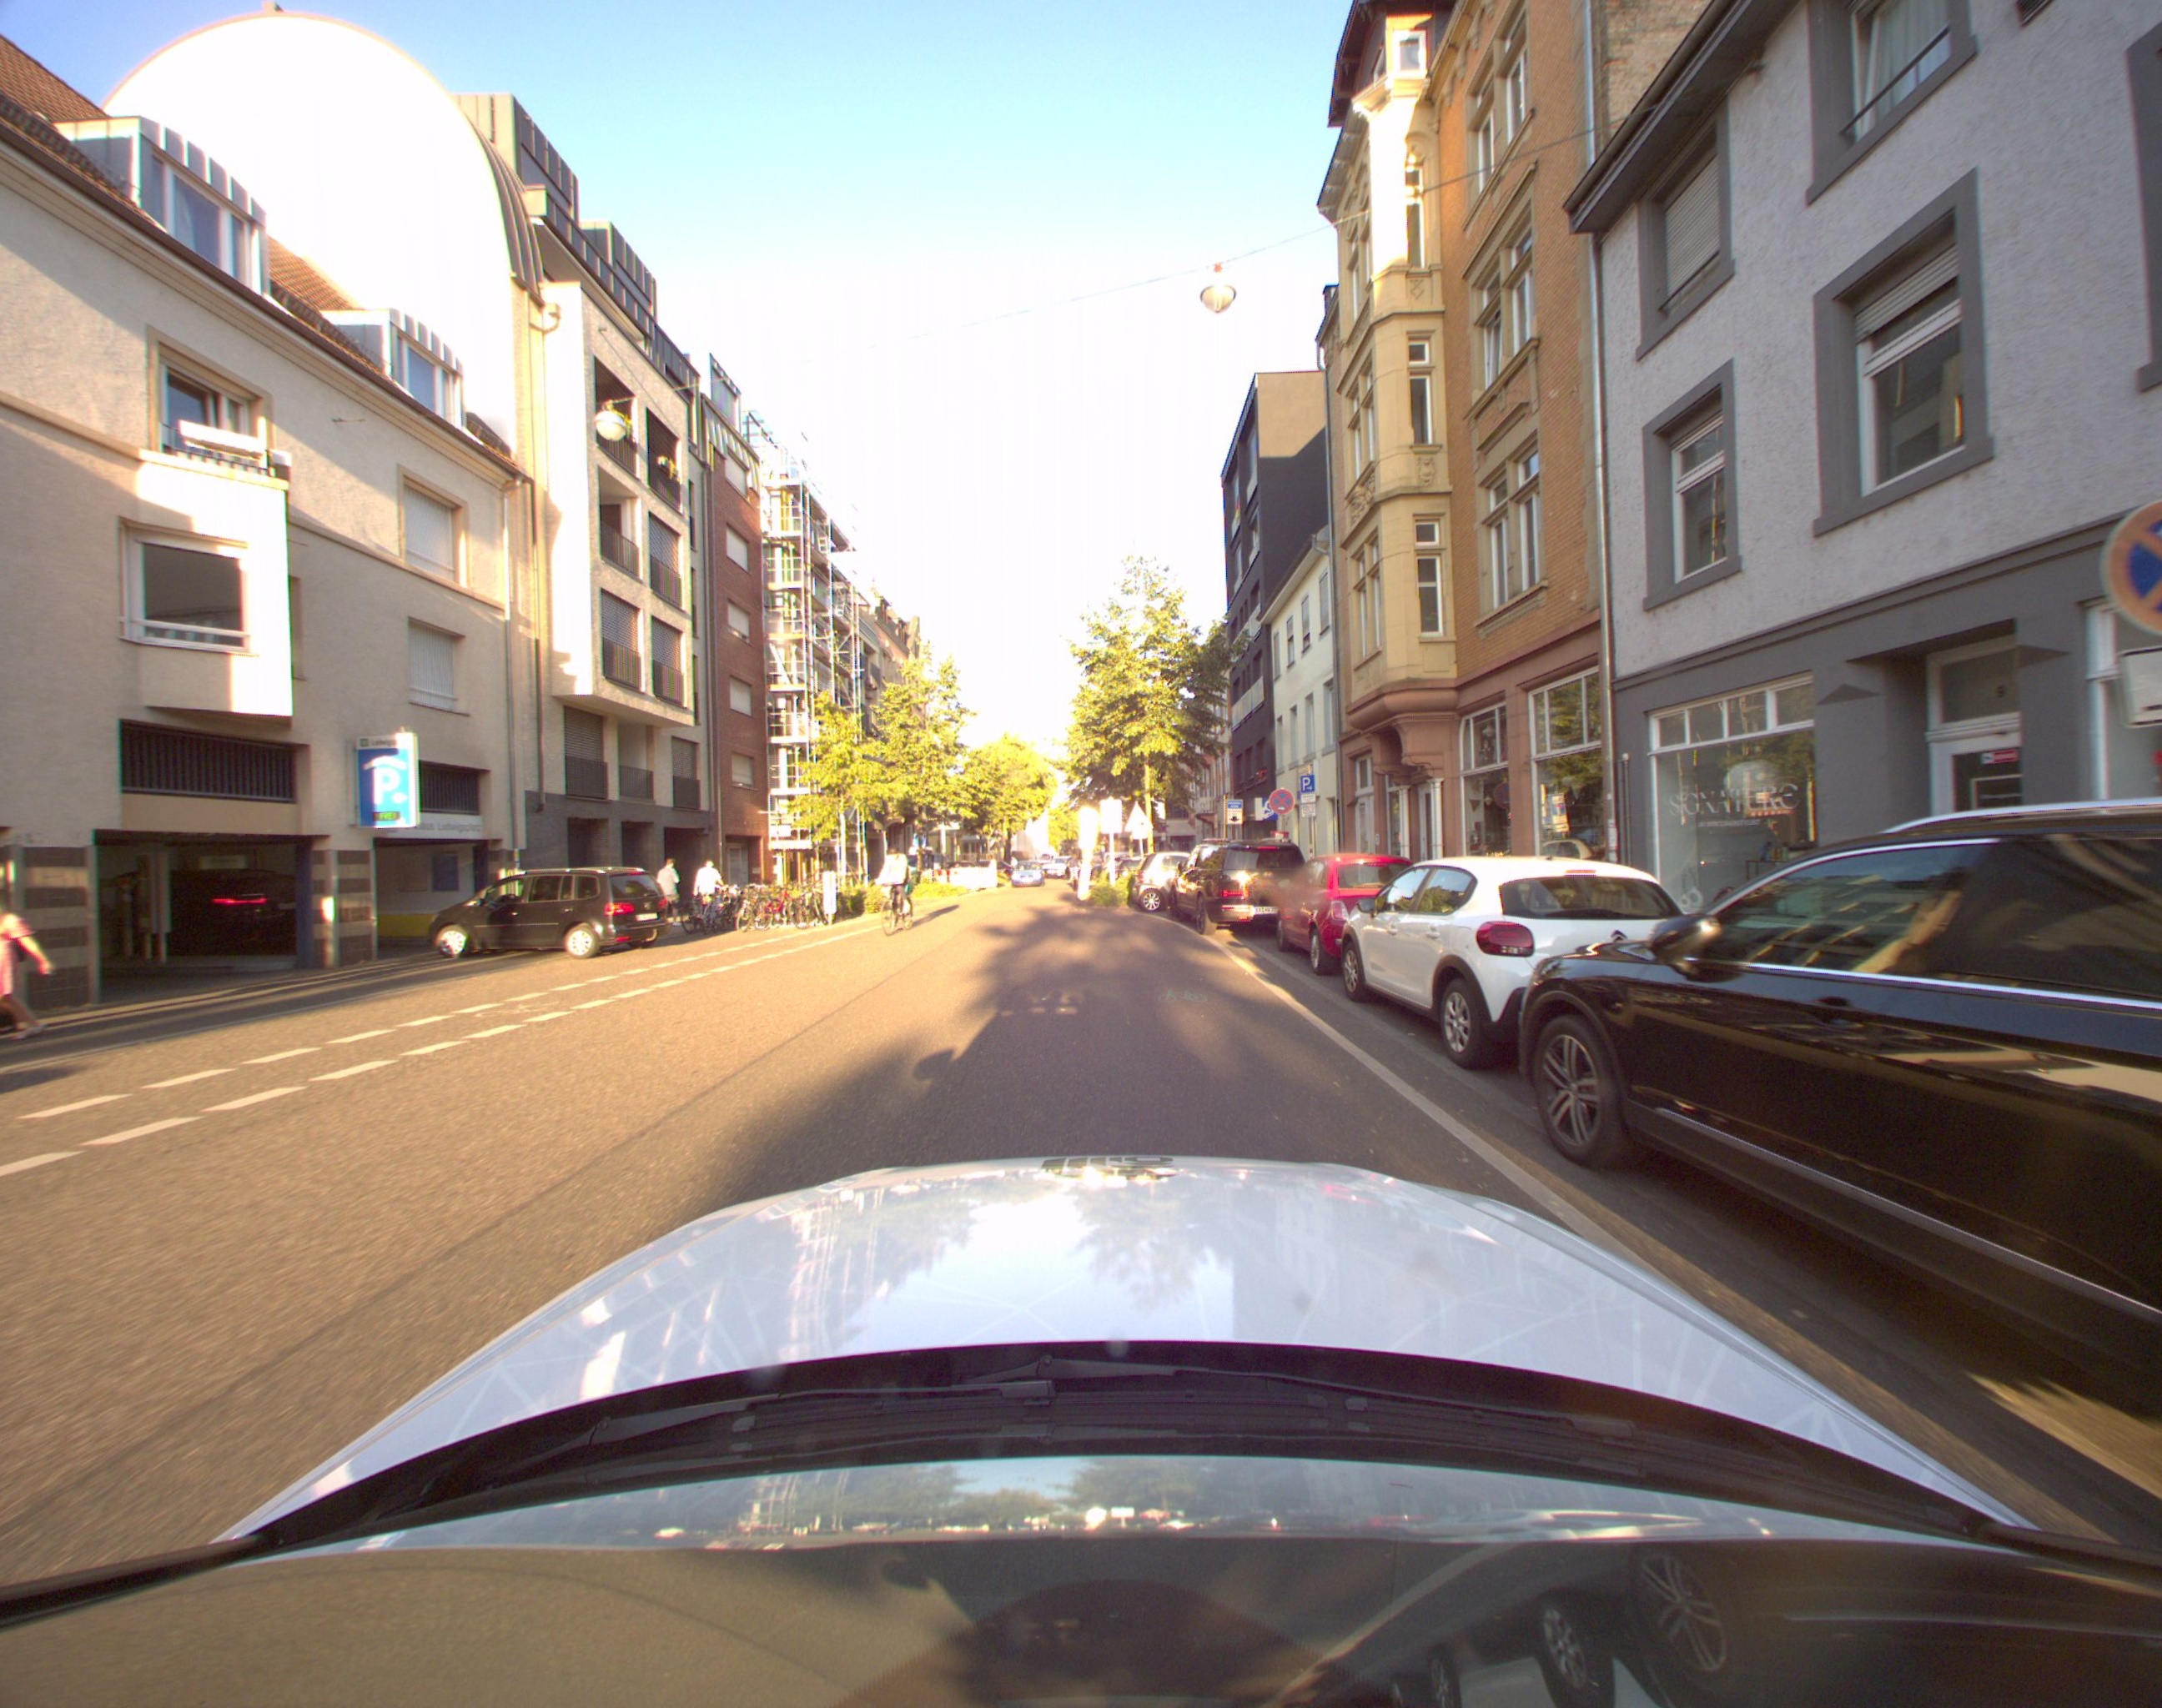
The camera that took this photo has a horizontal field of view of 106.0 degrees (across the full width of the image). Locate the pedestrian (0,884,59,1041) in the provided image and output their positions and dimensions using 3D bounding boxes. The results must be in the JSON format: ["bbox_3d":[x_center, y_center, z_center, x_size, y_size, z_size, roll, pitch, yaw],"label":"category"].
[{"bbox_3d":[-11.753,1.150,8.644,0.713,1.641,0.856,-1,-1,5],"label":"pedestrian"}]

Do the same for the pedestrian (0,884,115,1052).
[{"bbox_3d":[-11.017,1.155,8.548,0.713,1.641,0.856,-1,-1,5],"label":"pedestrian"}]

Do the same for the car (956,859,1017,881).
[{"bbox_3d":[-6.680,1.124,57.836,4.086,1.466,1.890,-1,-1,2],"label":"car"}]

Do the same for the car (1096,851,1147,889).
[{"bbox_3d":[2.119,0.817,43.758,2.259,1.766,4.505,4,-1,-2],"label":"car"}]

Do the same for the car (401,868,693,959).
[{"bbox_3d":[-10.272,1.108,15.878,4.471,1.601,2.004,-1,-1,6],"label":"car"}]

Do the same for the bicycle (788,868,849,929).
[{"bbox_3d":[-6.537,1.046,20.445,0.844,1.351,3.179,-2,0,-7],"label":"bicycle"}]

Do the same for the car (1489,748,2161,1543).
[{"bbox_3d":[3.191,0.611,2.558,1.805,1.668,4.207,-1,-1,2],"label":"car"}]

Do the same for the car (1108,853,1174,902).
[{"bbox_3d":[2.169,0.840,30.438,1.988,1.668,4.506,0,-1,-2],"label":"car"}]

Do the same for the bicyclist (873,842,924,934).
[{"bbox_3d":[-3.777,0.687,16.920,0.778,1.829,1.006,-3,-1,-1],"label":"bicyclist"}]

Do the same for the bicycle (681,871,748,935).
[{"bbox_3d":[-8.967,1.141,20.072,0.584,1.395,3.153,0,-1,-7],"label":"bicycle"}]

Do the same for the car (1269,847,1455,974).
[{"bbox_3d":[3.702,0.682,11.267,1.581,1.483,3.269,-1,-1,3],"label":"car"}]

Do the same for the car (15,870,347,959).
[{"bbox_3d":[-17.552,1.144,16.048,4.475,1.601,2.002,-1,-1,3],"label":"car"}]

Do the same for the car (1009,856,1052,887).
[{"bbox_3d":[-2.675,0.930,44.289,1.831,1.440,4.334,-4,0,2],"label":"car"}]

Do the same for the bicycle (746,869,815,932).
[{"bbox_3d":[-7.425,1.097,20.317,0.892,1.395,3.158,-1,0,-7],"label":"bicycle"}]

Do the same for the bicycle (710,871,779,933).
[{"bbox_3d":[-8.274,1.120,20.185,0.780,1.373,3.134,0,-1,-7],"label":"bicycle"}]

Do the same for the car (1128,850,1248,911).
[{"bbox_3d":[2.793,0.684,21.653,2.962,1.536,1.432,0,-1,-3],"label":"car"}]

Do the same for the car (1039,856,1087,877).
[{"bbox_3d":[-1.270,0.880,59.701,1.868,1.480,4.483,-1,-1,23],"label":"car"}]

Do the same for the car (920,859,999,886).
[{"bbox_3d":[-6.777,1.028,45.886,4.086,1.466,1.890,-1,-1,2],"label":"car"}]

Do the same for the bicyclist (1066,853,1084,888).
[{"bbox_3d":[-0.297,0.802,40.014,0.778,1.696,1.006,-3,-1,-1],"label":"bicyclist"}]

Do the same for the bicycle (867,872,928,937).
[{"bbox_3d":[-3.770,0.997,16.890,0.778,1.204,2.020,-3,-1,-1],"label":"bicycle"}]

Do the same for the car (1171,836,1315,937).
[{"bbox_3d":[2.996,0.563,15.997,1.820,1.695,4.365,0,-1,-2],"label":"car"}]

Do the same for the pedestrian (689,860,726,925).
[{"bbox_3d":[-10.203,1.037,22.241,0.716,1.740,0.737,0,-1,-7],"label":"pedestrian"}]

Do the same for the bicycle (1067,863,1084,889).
[{"bbox_3d":[-0.274,1.053,39.967,0.778,1.204,2.020,-3,-1,-1],"label":"bicycle"}]

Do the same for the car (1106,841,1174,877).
[{"bbox_3d":[3.575,0.303,49.445,3.968,2.013,2.003,-2,0,5],"label":"car"}]

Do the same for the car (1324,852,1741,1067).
[{"bbox_3d":[3.489,0.700,7.181,1.660,1.378,3.804,-1,-1,2],"label":"car"}]

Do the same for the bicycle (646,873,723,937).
[{"bbox_3d":[-9.636,1.188,19.969,0.720,1.395,3.145,0,-1,-7],"label":"bicycle"}]

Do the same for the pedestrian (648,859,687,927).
[{"bbox_3d":[-10.893,1.007,21.459,0.716,1.767,0.692,0,-1,-7],"label":"pedestrian"}]
